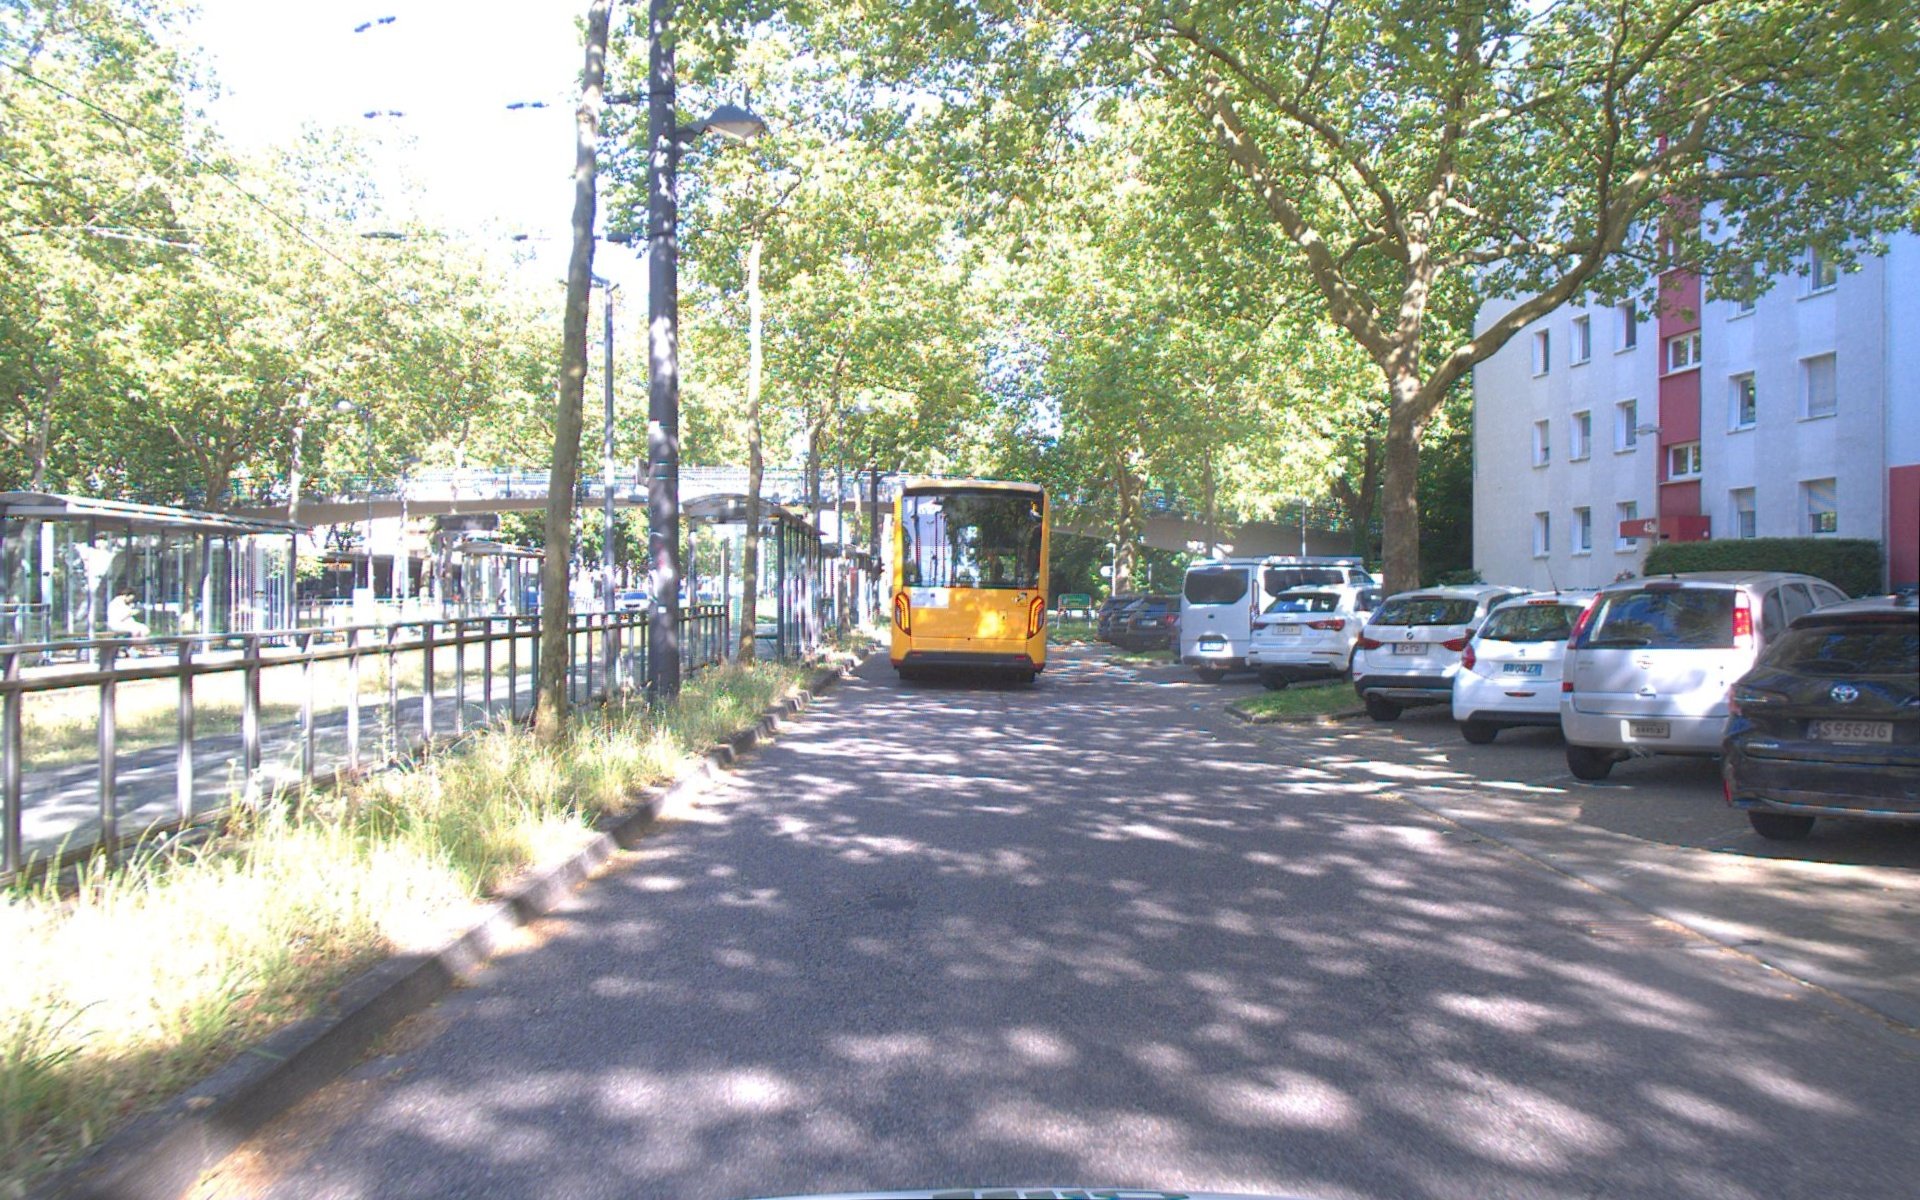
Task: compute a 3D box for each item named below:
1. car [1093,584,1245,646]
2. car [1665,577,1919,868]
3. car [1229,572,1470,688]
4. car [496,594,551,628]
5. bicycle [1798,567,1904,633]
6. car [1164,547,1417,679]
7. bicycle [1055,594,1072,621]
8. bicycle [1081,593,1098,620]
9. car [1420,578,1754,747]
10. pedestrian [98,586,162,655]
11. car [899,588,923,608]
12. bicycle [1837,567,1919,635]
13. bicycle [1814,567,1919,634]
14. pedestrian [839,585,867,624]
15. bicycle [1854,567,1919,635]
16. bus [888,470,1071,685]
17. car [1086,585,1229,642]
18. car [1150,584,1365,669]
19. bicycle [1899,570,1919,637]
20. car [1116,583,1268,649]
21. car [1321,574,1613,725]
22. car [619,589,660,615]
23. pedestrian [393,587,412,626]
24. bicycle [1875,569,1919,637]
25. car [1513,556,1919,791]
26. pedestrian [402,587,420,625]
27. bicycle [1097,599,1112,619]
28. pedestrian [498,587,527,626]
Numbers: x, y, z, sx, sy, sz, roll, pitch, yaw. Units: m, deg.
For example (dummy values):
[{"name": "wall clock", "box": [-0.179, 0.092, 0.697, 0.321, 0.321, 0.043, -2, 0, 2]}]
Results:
[{"name": "car", "box": [5.744, 0.401, 45.183, 4.219, 1.487, 1.773, -3, 0, -41]}, {"name": "car", "box": [6.385, 0.599, 10.285, 4.369, 1.453, 1.923, -3, 0, -40]}, {"name": "car", "box": [6.223, 0.429, 26.217, 4.027, 1.608, 1.803, -3, 0, -44]}, {"name": "car", "box": [-20.936, 0.498, 79.486, 1.759, 1.593, 4.284, 0, 0, -4]}, {"name": "bicycle", "box": [16.983, 0.001, 31.544, 1.760, 1.149, 0.499, -3, 0, -6]}, {"name": "car", "box": [5.891, 0.190, 29.211, 4.550, 2.088, 1.987, -3, 0, -41]}, {"name": "bicycle", "box": [4.831, 0.352, 77.091, 0.578, 1.203, 1.800, -3, 1, -1]}, {"name": "bicycle", "box": [6.034, 0.286, 77.057, 0.578, 1.203, 1.800, -3, 1, -1]}, {"name": "car", "box": [6.552, 0.574, 17.065, 1.801, 1.444, 3.974, -2, 0, 44]}, {"name": "pedestrian", "box": [-14.782, 0.362, 29.463, 0.750, 1.204, 0.763, 0, 0, 0]}, {"name": "car", "box": [-4.566, -0.205, 154.995, 1.946, 1.672, 4.134, 3, 1, 0]}, {"name": "bicycle", "box": [17.140, 0.005, 30.427, 1.760, 1.149, 0.499, -3, 0, -6]}, {"name": "bicycle", "box": [17.006, 0.013, 30.992, 1.760, 1.149, 0.499, -3, 0, -6]}, {"name": "pedestrian", "box": [-3.610, 0.145, 55.832, 0.837, 1.264, 0.850, 1, 0, 1]}, {"name": "bicycle", "box": [17.149, 0.005, 29.847, 1.760, 1.149, 0.499, -3, 0, -6]}, {"name": "bus", "box": [0.145, -0.367, 31.775, 2.841, 3.324, 12.214, 0, 0, -2]}, {"name": "car", "box": [5.790, 0.383, 48.203, 4.219, 1.487, 1.773, -3, 0, -41]}, {"name": "car", "box": [5.949, 0.495, 32.768, 4.552, 1.448, 1.772, -3, 0, -43]}, {"name": "bicycle", "box": [17.298, 0.015, 28.687, 1.760, 1.149, 0.499, -3, 0, -6]}, {"name": "car", "box": [5.939, 0.388, 42.153, 3.970, 1.493, 1.754, -3, 0, -44]}, {"name": "car", "box": [6.204, 0.533, 19.957, 1.768, 1.536, 4.188, -2, 0, 41]}, {"name": "car", "box": [-20.389, 0.134, 105.340, 1.757, 1.608, 4.287, 0, 0, 0]}, {"name": "pedestrian", "box": [-24.678, 0.284, 73.193, 0.635, 1.690, 0.649, 0, 0, -5]}, {"name": "bicycle", "box": [17.215, 0.012, 29.273, 1.760, 1.149, 0.549, -3, 0, -6]}, {"name": "car", "box": [6.440, 0.508, 13.828, 3.969, 1.617, 1.771, -3, 0, -44]}, {"name": "pedestrian", "box": [-24.566, 0.275, 73.983, 0.635, 1.690, 0.649, 0, 0, -5]}, {"name": "bicycle", "box": [6.705, 0.412, 77.009, 0.495, 0.867, 1.473, -3, 1, -1]}, {"name": "pedestrian", "box": [-14.794, 0.207, 54.702, 0.762, 1.259, 0.722, 0, 0, -2]}]
